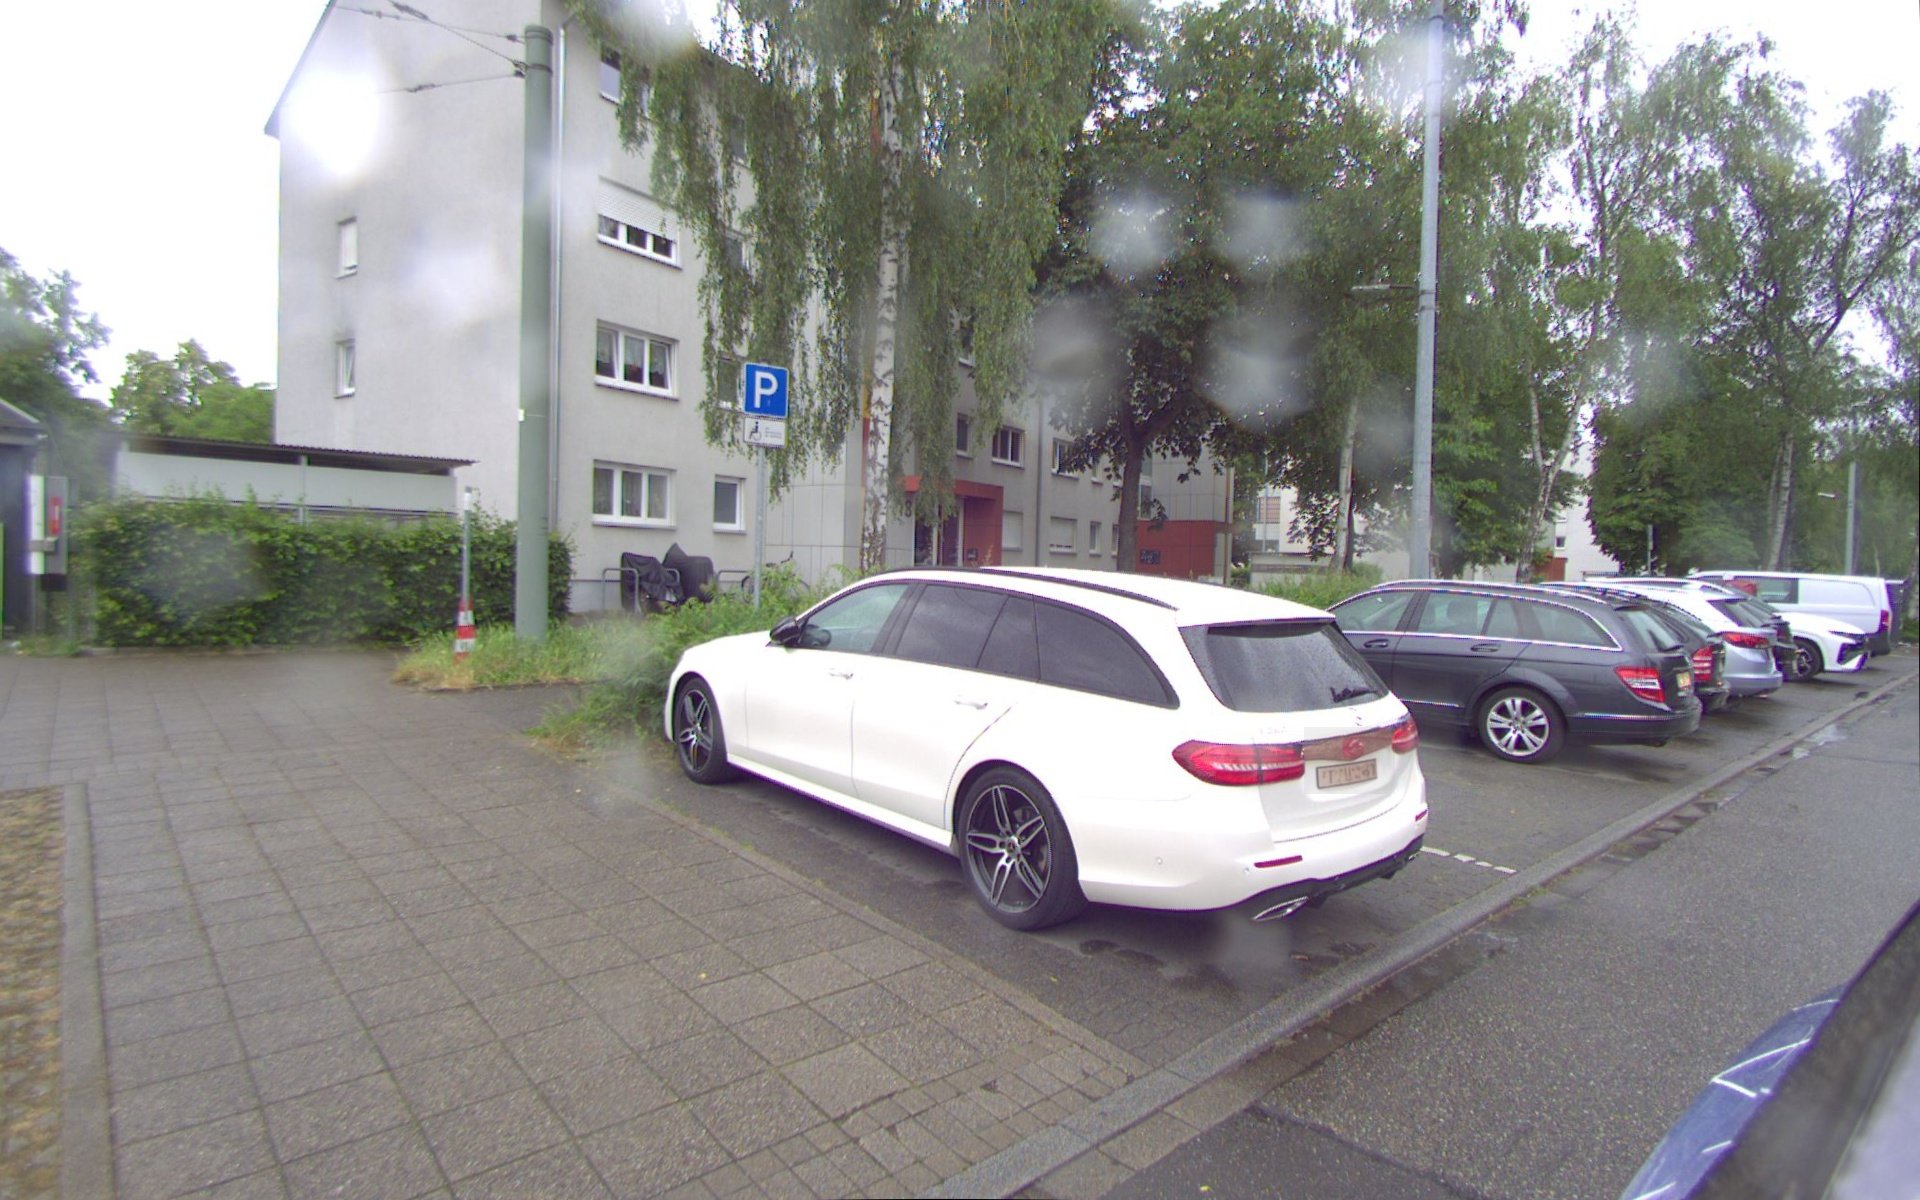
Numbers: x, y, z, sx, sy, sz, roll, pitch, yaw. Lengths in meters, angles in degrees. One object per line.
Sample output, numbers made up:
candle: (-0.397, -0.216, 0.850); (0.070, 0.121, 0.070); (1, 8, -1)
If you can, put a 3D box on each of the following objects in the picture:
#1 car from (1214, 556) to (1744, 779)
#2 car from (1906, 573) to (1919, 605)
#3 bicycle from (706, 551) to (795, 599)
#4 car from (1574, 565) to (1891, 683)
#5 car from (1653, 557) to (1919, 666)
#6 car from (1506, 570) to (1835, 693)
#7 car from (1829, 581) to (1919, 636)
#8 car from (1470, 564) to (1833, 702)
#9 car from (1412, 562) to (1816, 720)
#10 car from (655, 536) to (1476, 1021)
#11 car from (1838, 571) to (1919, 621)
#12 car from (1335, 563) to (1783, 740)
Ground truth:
car: (4.613, 0.424, 9.467); (1.653, 1.456, 4.044); (-1, 5, -43)
car: (53.223, -0.602, 53.808); (1.866, 1.701, 3.998); (-1, 1, -36)
bicycle: (-4.523, -0.528, 21.972); (0.701, 1.005, 1.918); (0, 0, 37)
car: (13.695, 0.320, 18.174); (1.651, 1.637, 4.181); (0, 5, -40)
car: (17.551, 0.141, 21.662); (4.172, 1.888, 1.654); (6, 5, 43)
car: (11.337, 0.394, 16.362); (1.653, 1.514, 4.044); (-1, 5, -43)
car: (34.436, 0.284, 36.812); (1.866, 1.937, 3.998); (-1, 0, -36)
car: (9.868, 0.352, 14.688); (1.653, 1.514, 4.044); (-1, 5, -43)
car: (8.248, 0.381, 13.050); (1.653, 1.514, 4.044); (-1, 5, -43)
car: (0.081, 0.475, 5.610); (1.651, 1.456, 4.622); (-1, 5, -41)
car: (37.773, -0.162, 40.243); (1.866, 1.937, 3.998); (-1, 0, -36)
car: (6.628, 0.419, 11.544); (1.653, 1.456, 4.044); (-1, 5, -43)
